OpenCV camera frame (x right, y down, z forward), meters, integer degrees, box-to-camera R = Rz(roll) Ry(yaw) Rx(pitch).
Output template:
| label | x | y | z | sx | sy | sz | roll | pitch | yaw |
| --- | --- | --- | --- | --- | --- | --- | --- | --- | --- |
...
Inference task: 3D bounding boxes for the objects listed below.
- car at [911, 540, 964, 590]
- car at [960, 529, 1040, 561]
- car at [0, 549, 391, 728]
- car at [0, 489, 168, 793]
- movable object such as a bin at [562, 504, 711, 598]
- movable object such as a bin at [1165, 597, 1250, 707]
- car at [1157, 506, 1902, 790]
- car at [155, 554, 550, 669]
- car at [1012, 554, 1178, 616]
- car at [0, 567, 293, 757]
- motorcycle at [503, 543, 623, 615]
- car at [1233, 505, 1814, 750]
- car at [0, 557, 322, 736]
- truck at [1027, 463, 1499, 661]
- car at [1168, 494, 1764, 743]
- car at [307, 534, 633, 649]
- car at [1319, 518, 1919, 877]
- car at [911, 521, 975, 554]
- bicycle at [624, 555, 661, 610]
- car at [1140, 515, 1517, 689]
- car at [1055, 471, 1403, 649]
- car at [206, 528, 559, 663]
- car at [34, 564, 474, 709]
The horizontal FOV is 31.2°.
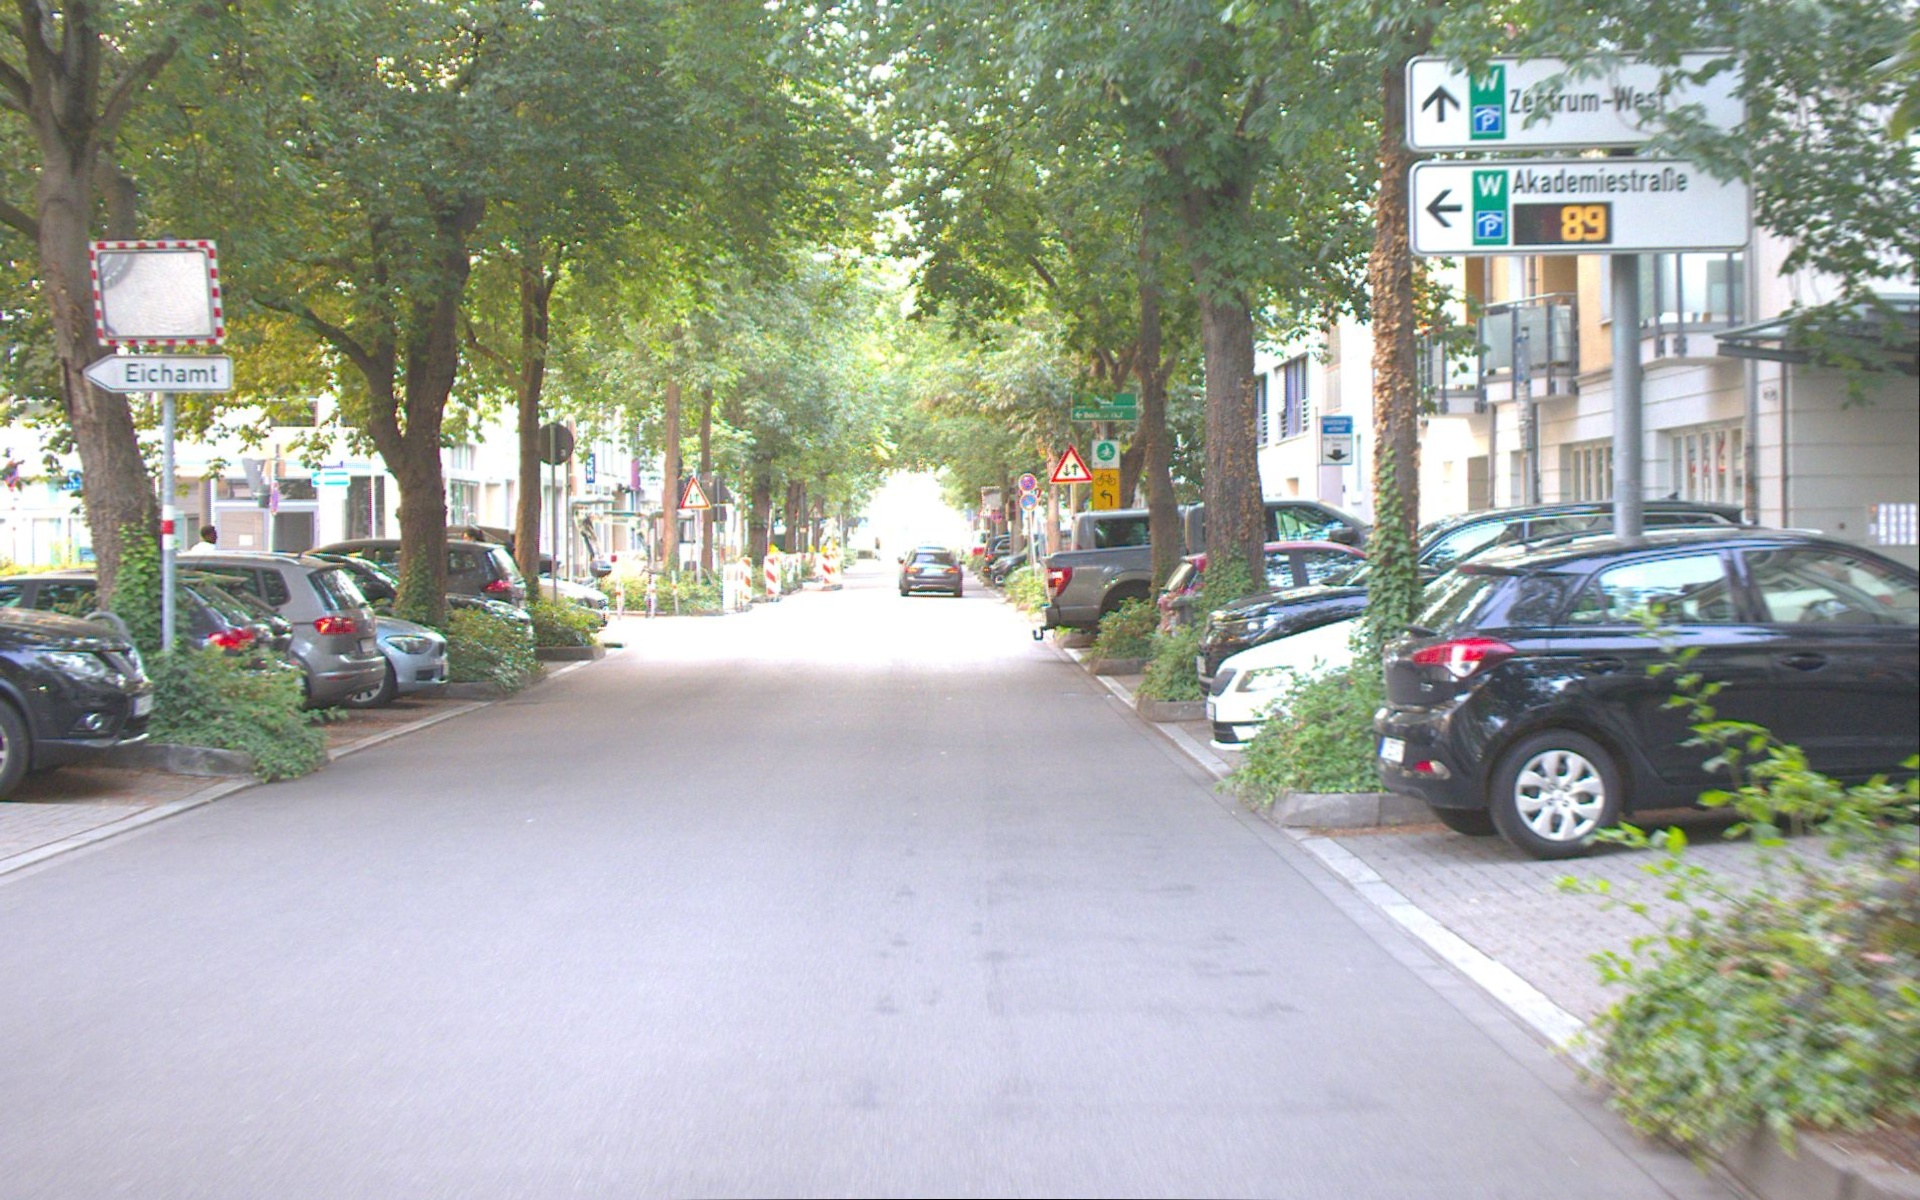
| label | x | y | z | sx | sy | sz | roll | pitch | yaw |
| --- | --- | --- | --- | --- | --- | --- | --- | --- | --- |
| car | -0.656 | -1.051 | 100.956 | 1.500 | 1.411 | 3.714 | -1 | 1 | 0 |
| car | 2.065 | -2.824 | 177.054 | 3.986 | 1.592 | 2.000 | -1 | 1 | -3 |
| car | -7.189 | 0.335 | 32.358 | 3.404 | 1.604 | 1.761 | -1 | 1 | -2 |
| car | -7.572 | 0.238 | 22.297 | 4.418 | 1.886 | 2.000 | 0 | 1 | -1 |
| movable object such as a bin | -8.319 | -1.259 | 88.722 | 3.665 | 2.325 | 2.584 | -1 | 1 | -2 |
| movable object such as a bin | 2.437 | 0.509 | 33.928 | 0.774 | 1.064 | 0.589 | -1 | 1 | -1 |
| car | 3.706 | 0.294 | 22.922 | 4.572 | 1.546 | 1.773 | -3 | 1 | -1 |
| car | -7.659 | 0.131 | 43.717 | 4.715 | 1.419 | 2.072 | 0 | 1 | -2 |
| car | 3.640 | -0.420 | 93.084 | 4.437 | 1.586 | 1.629 | -1 | 1 | 2 |
| car | -7.168 | 0.481 | 27.425 | 3.404 | 1.437 | 1.594 | -1 | 1 | -2 |
| motorcycle | -8.098 | -0.431 | 70.234 | 2.373 | 1.436 | 0.801 | -1 | 1 | -40 |
| car | 4.115 | 0.186 | 25.567 | 3.987 | 1.520 | 1.727 | -4 | 1 | 2 |
| car | -7.462 | 0.388 | 30.269 | 3.404 | 1.501 | 1.665 | -1 | 1 | -2 |
| truck | 4.006 | -0.520 | 46.296 | 6.004 | 2.125 | 2.261 | -5 | 1 | 0 |
| car | 4.088 | 0.128 | 28.158 | 4.382 | 1.698 | 1.896 | -4 | 1 | -8 |
| car | -7.204 | -0.134 | 50.910 | 4.498 | 1.576 | 2.055 | 1 | 0 | 0 |
| car | 3.954 | 0.399 | 16.958 | 3.986 | 1.469 | 1.914 | -4 | 1 | -4 |
| car | -1.089 | -4.017 | 221.180 | 3.987 | 2.007 | 2.000 | -1 | 1 | 2 |
| bicycle | -6.760 | -0.378 | 73.213 | 0.601 | 1.114 | 1.800 | -1 | 2 | 0 |
| car | 3.880 | 0.030 | 36.606 | 3.664 | 1.543 | 1.781 | -4 | 0 | -2 |
| car | 3.772 | -0.571 | 48.844 | 4.620 | 2.125 | 2.037 | -4 | 1 | 0 |
| car | -7.637 | -0.077 | 45.839 | 4.395 | 1.679 | 2.064 | 1 | 1 | -2 |
| car | -7.051 | 0.355 | 34.620 | 4.099 | 1.375 | 1.747 | 1 | 1 | -2 |
